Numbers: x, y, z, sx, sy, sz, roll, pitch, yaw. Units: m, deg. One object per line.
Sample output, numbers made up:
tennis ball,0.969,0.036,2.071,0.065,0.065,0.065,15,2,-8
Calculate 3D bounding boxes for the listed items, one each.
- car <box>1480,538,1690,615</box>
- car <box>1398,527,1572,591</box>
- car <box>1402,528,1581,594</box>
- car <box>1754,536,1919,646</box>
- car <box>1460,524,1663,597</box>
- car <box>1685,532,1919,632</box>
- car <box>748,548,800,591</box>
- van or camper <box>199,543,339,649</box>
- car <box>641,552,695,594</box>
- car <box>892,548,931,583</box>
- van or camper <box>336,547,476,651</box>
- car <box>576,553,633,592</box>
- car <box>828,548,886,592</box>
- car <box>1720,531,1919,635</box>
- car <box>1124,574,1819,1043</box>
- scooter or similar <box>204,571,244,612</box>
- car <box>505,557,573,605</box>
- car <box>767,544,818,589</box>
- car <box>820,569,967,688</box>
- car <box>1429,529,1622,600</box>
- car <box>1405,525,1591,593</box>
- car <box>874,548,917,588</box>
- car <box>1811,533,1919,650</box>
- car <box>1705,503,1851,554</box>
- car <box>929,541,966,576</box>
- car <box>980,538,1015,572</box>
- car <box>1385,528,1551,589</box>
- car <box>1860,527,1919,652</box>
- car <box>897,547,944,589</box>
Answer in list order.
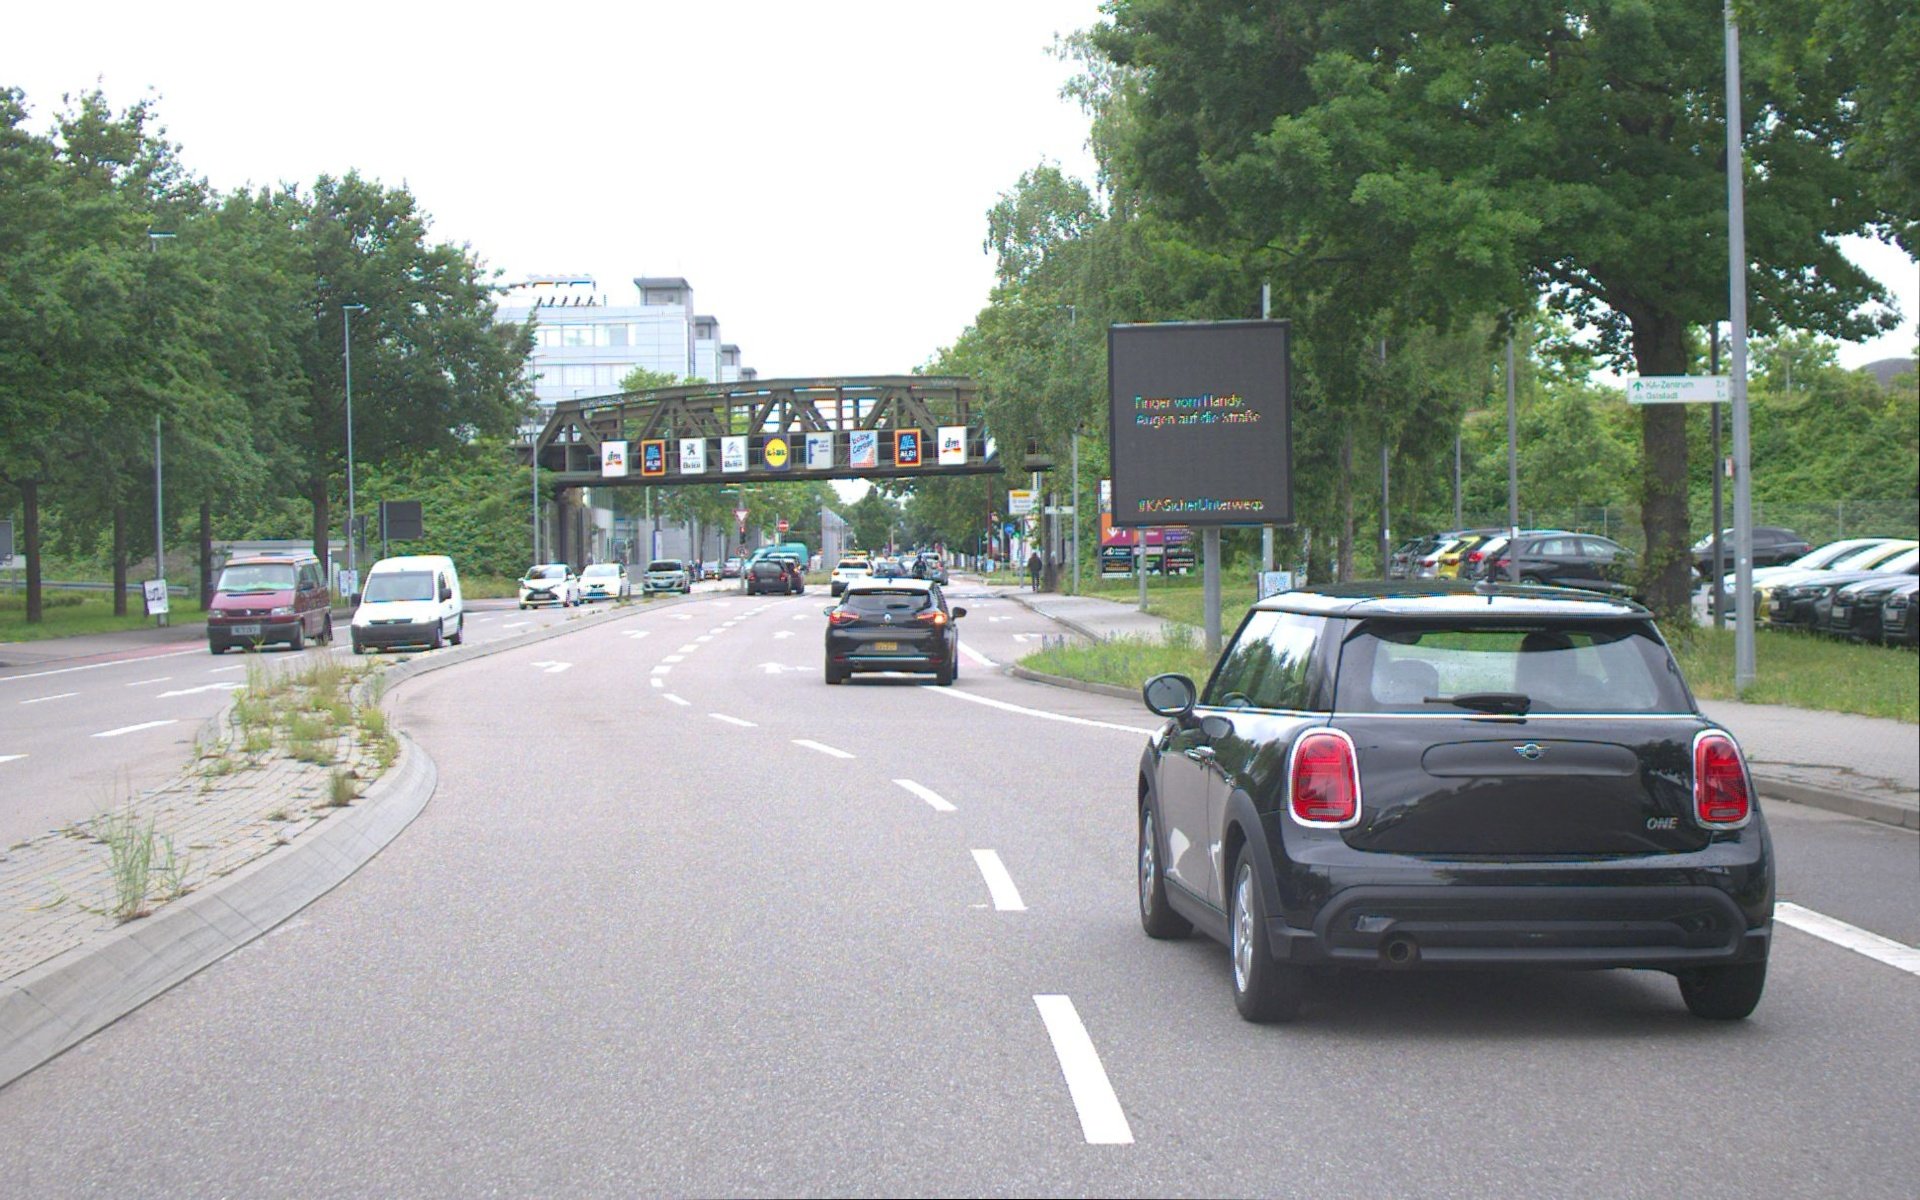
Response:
car,12.425,-0.476,68.506,3.988,1.431,1.730,1,3,6
car,12.397,-0.979,81.391,3.988,1.431,1.730,1,3,6
car,12.269,-0.904,79.523,3.988,1.431,1.730,1,3,6
car,13.228,-0.138,47.390,4.085,1.431,1.822,0,3,-2
car,12.388,-0.823,70.974,3.988,1.431,1.730,1,3,6
car,13.231,-0.282,52.113,4.085,1.431,1.730,0,3,-2
car,-7.837,-1.315,145.389,1.884,1.656,3.782,0,3,2
van or camper,-14.023,-0.116,70.023,1.875,1.979,4.890,-2,2,-1
car,-12.808,-1.202,151.168,1.940,1.670,3.782,0,3,2
car,-2.559,-1.826,180.621,1.884,1.656,3.782,0,3,2
van or camper,-10.435,-0.046,64.976,1.755,1.741,4.407,-4,1,1
car,-13.494,-1.053,130.487,1.719,1.366,3.440,0,3,2
car,-4.188,-1.240,140.338,2.135,1.656,3.782,0,3,2
car,13.285,-0.258,49.795,4.085,1.431,1.847,0,3,-2
car,1.648,0.636,12.283,1.786,1.411,3.643,1,0,-2
scooter or similar,-21.007,-0.254,98.206,0.762,1.086,2.007,0,3,-2
car,-14.027,-0.653,114.753,1.754,1.441,3.339,0,3,2
car,-7.385,-1.503,152.223,1.950,1.809,4.000,0,3,2
car,-0.871,0.355,46.990,1.757,1.429,4.000,-1,2,2
car,12.133,-0.778,73.995,3.988,1.431,1.730,1,3,6
car,11.923,-0.926,76.347,3.988,1.431,1.730,1,3,6
car,-3.194,-1.606,170.057,1.950,1.809,4.000,0,3,2
car,13.502,-0.110,44.772,4.343,1.483,1.843,0,1,-1
car,24.104,-2.121,101.392,3.988,1.431,1.730,1,3,6
car,-0.716,-2.339,193.271,1.950,1.809,4.000,0,3,2
car,2.160,-2.599,197.863,1.950,1.809,4.000,0,3,2
car,12.627,-1.044,85.605,3.988,1.431,1.730,1,3,6
car,13.565,-0.050,42.406,4.343,1.498,1.930,3,1,-1
car,-1.694,-1.399,148.755,1.884,1.656,3.782,0,3,2
